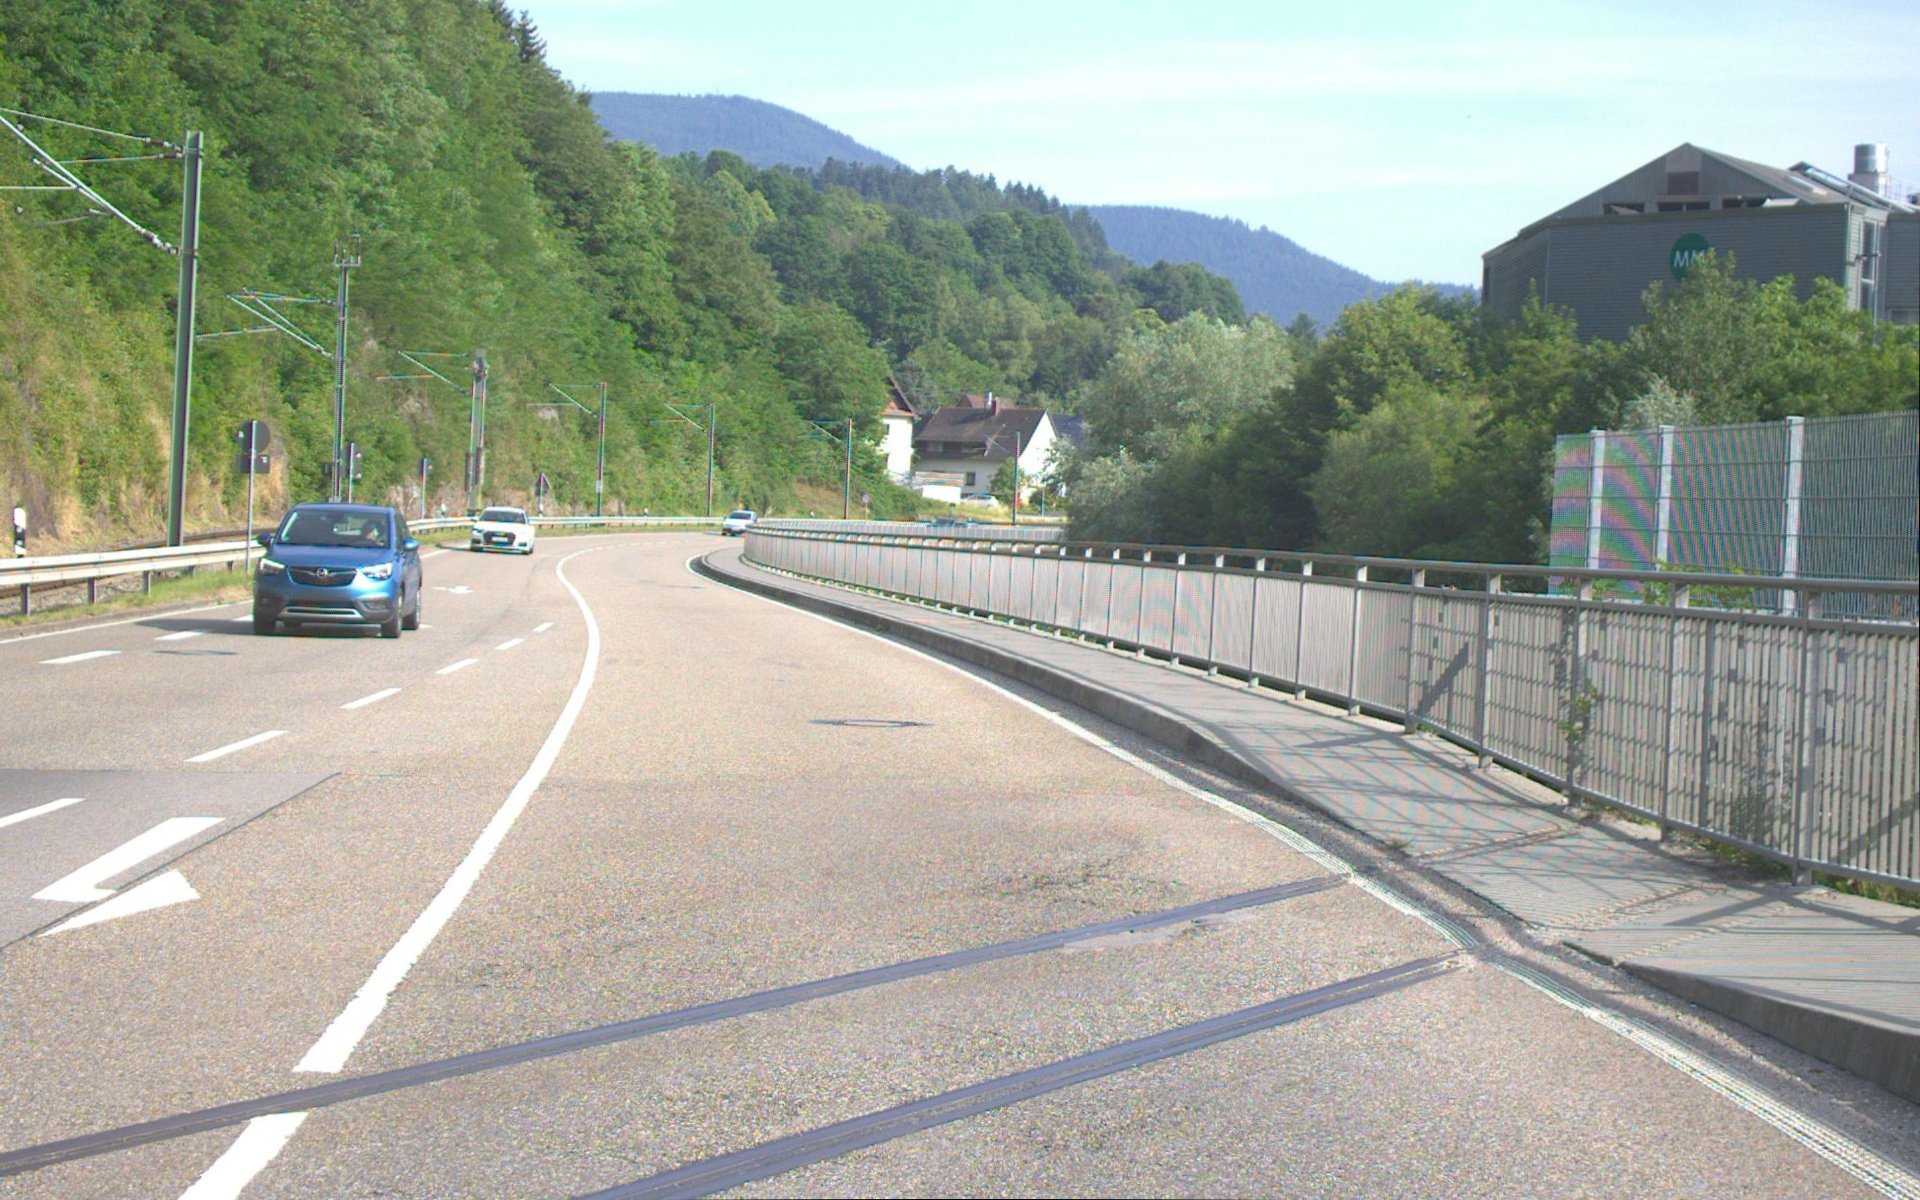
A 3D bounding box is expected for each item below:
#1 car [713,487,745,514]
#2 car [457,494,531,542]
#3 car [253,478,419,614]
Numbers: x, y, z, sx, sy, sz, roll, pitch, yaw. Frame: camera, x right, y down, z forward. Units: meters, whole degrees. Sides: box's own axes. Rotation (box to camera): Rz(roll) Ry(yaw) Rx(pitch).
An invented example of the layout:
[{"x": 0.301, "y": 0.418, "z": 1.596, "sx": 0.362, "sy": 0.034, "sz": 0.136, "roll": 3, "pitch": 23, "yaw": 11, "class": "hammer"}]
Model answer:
[{"x": -13.784, "y": -5.940, "z": 204.888, "sx": 1.847, "sy": 1.539, "sz": 4.605, "roll": 1, "pitch": 2, "yaw": -4, "class": "car"}, {"x": -14.871, "y": -2.632, "z": 109.913, "sx": 2.063, "sy": 1.434, "sz": 4.687, "roll": 2, "pitch": 2, "yaw": -5, "class": "car"}, {"x": -7.618, "y": -0.695, "z": 42.243, "sx": 1.718, "sy": 1.565, "sz": 4.136, "roll": 1, "pitch": 2, "yaw": -7, "class": "car"}]
